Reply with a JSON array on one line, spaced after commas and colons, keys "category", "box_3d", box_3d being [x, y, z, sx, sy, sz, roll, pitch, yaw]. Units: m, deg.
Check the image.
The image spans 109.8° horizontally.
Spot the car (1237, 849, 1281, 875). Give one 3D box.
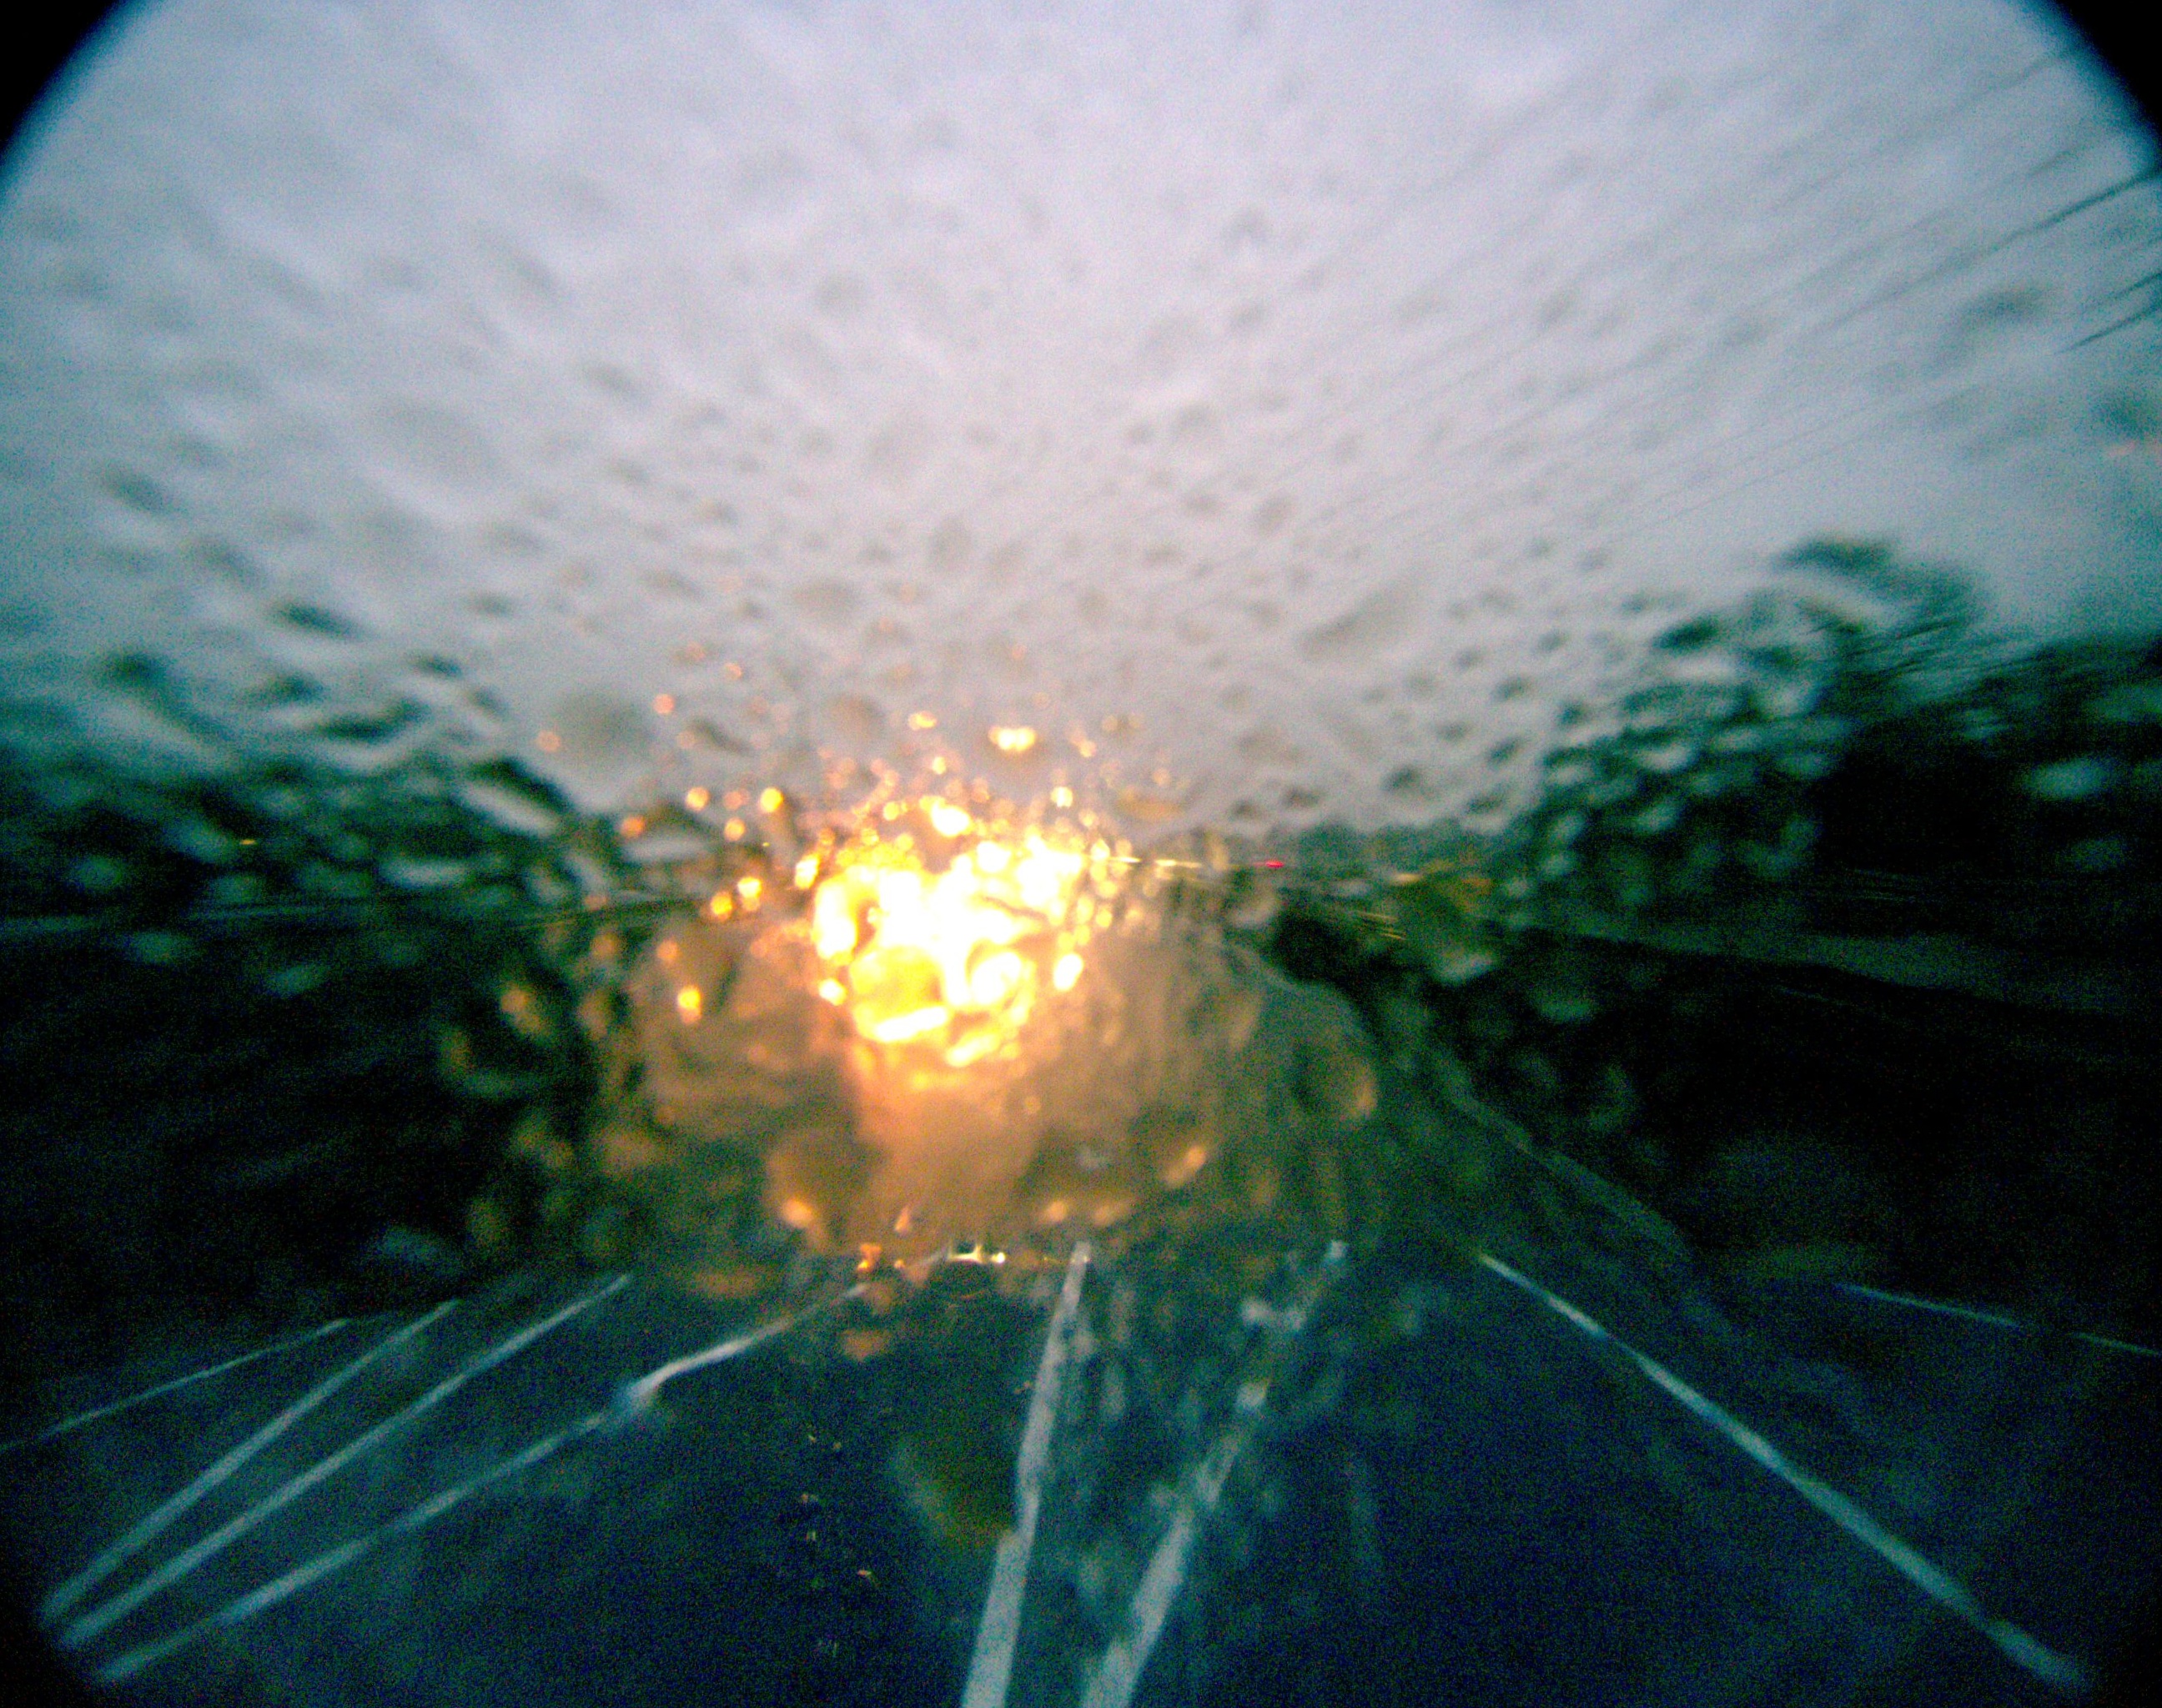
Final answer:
[{"category": "car", "box_3d": [11.794, 0.491, 50.716, 1.801, 1.562, 4.753, -1, 0, 0]}]

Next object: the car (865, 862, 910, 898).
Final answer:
[{"category": "car", "box_3d": [-8.672, 1.126, 33.903, 1.795, 1.426, 3.815, -1, 0, -16]}]

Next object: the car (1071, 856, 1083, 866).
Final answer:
[{"category": "car", "box_3d": [-0.650, 0.984, 111.508, 1.632, 1.466, 3.999, 0, 0, -2]}]

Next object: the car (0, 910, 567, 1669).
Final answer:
[{"category": "car", "box_3d": [-3.122, 1.016, 1.574, 1.598, 1.482, 3.594, -1, 0, 1]}]

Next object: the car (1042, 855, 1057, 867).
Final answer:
[{"category": "car", "box_3d": [-4.311, 0.926, 103.742, 1.802, 1.494, 4.000, -2, 0, 0]}]

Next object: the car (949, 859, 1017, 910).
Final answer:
[{"category": "car", "box_3d": [-3.203, 0.949, 25.438, 1.682, 1.500, 3.808, -1, 0, 1]}]
